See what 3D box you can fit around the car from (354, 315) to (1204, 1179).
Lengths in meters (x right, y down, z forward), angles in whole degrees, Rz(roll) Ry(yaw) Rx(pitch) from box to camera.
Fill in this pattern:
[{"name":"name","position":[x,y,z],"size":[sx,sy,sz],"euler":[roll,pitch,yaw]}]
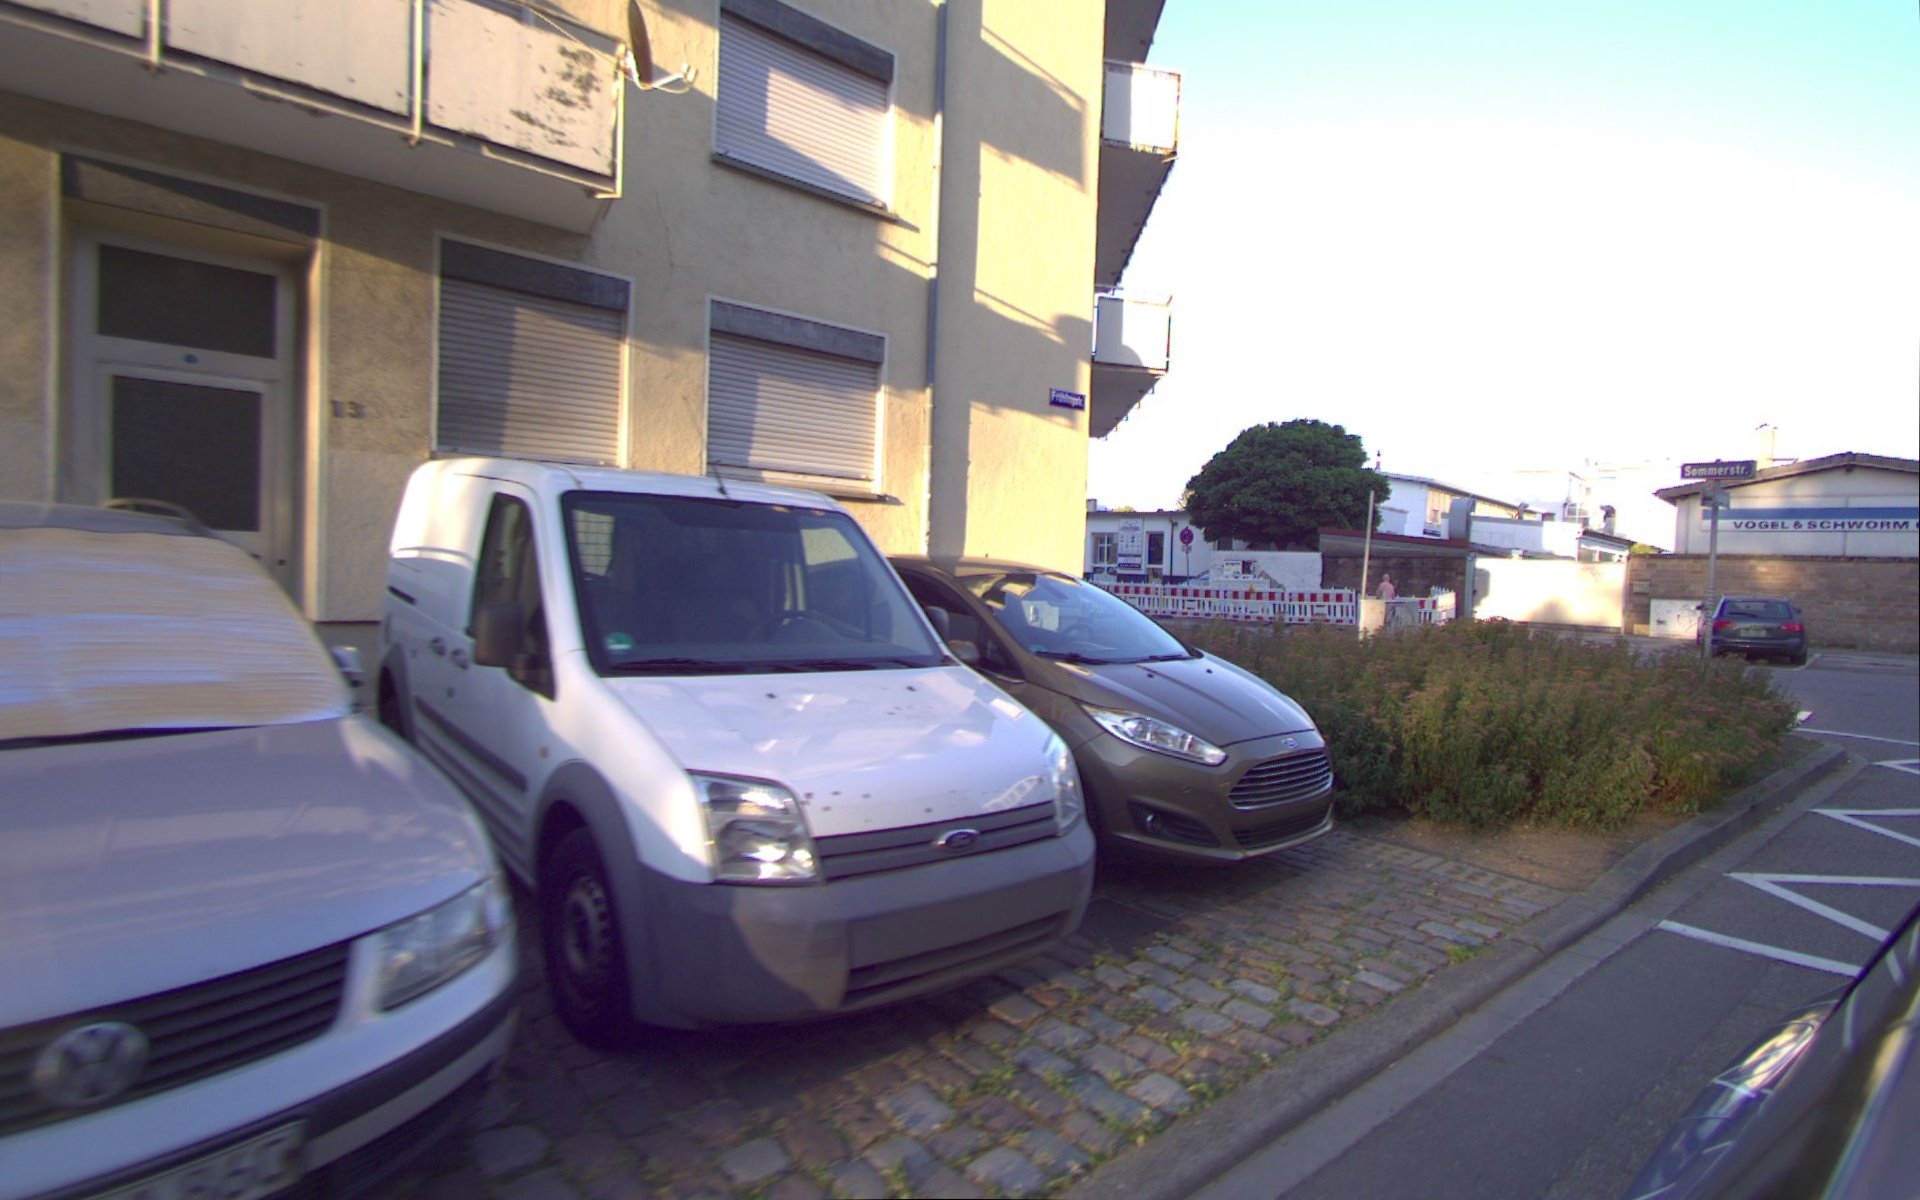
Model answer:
[{"name":"car","position":[-1.252,0.233,4.402],"size":[1.711,1.883,4.289],"euler":[0,2,-40]}]

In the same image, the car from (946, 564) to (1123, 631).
[{"name":"car","position":[1.758,-0.096,24.839],"size":[1.967,1.389,3.991],"euler":[4,0,-44]}]

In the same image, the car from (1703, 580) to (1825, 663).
[{"name":"car","position":[18.083,0.390,22.947],"size":[1.821,1.549,4.669],"euler":[3,3,35]}]

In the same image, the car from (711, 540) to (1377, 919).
[{"name":"car","position":[0.194,0.437,6.061],"size":[1.710,1.510,3.881],"euler":[1,2,-40]}]

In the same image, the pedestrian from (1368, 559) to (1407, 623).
[{"name":"pedestrian","position":[11.513,-0.242,27.275],"size":[0.774,1.686,0.627],"euler":[3,0,12]}]

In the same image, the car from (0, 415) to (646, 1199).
[{"name":"car","position":[-2.557,0.406,2.993],"size":[1.675,1.541,3.965],"euler":[1,2,-40]}]
